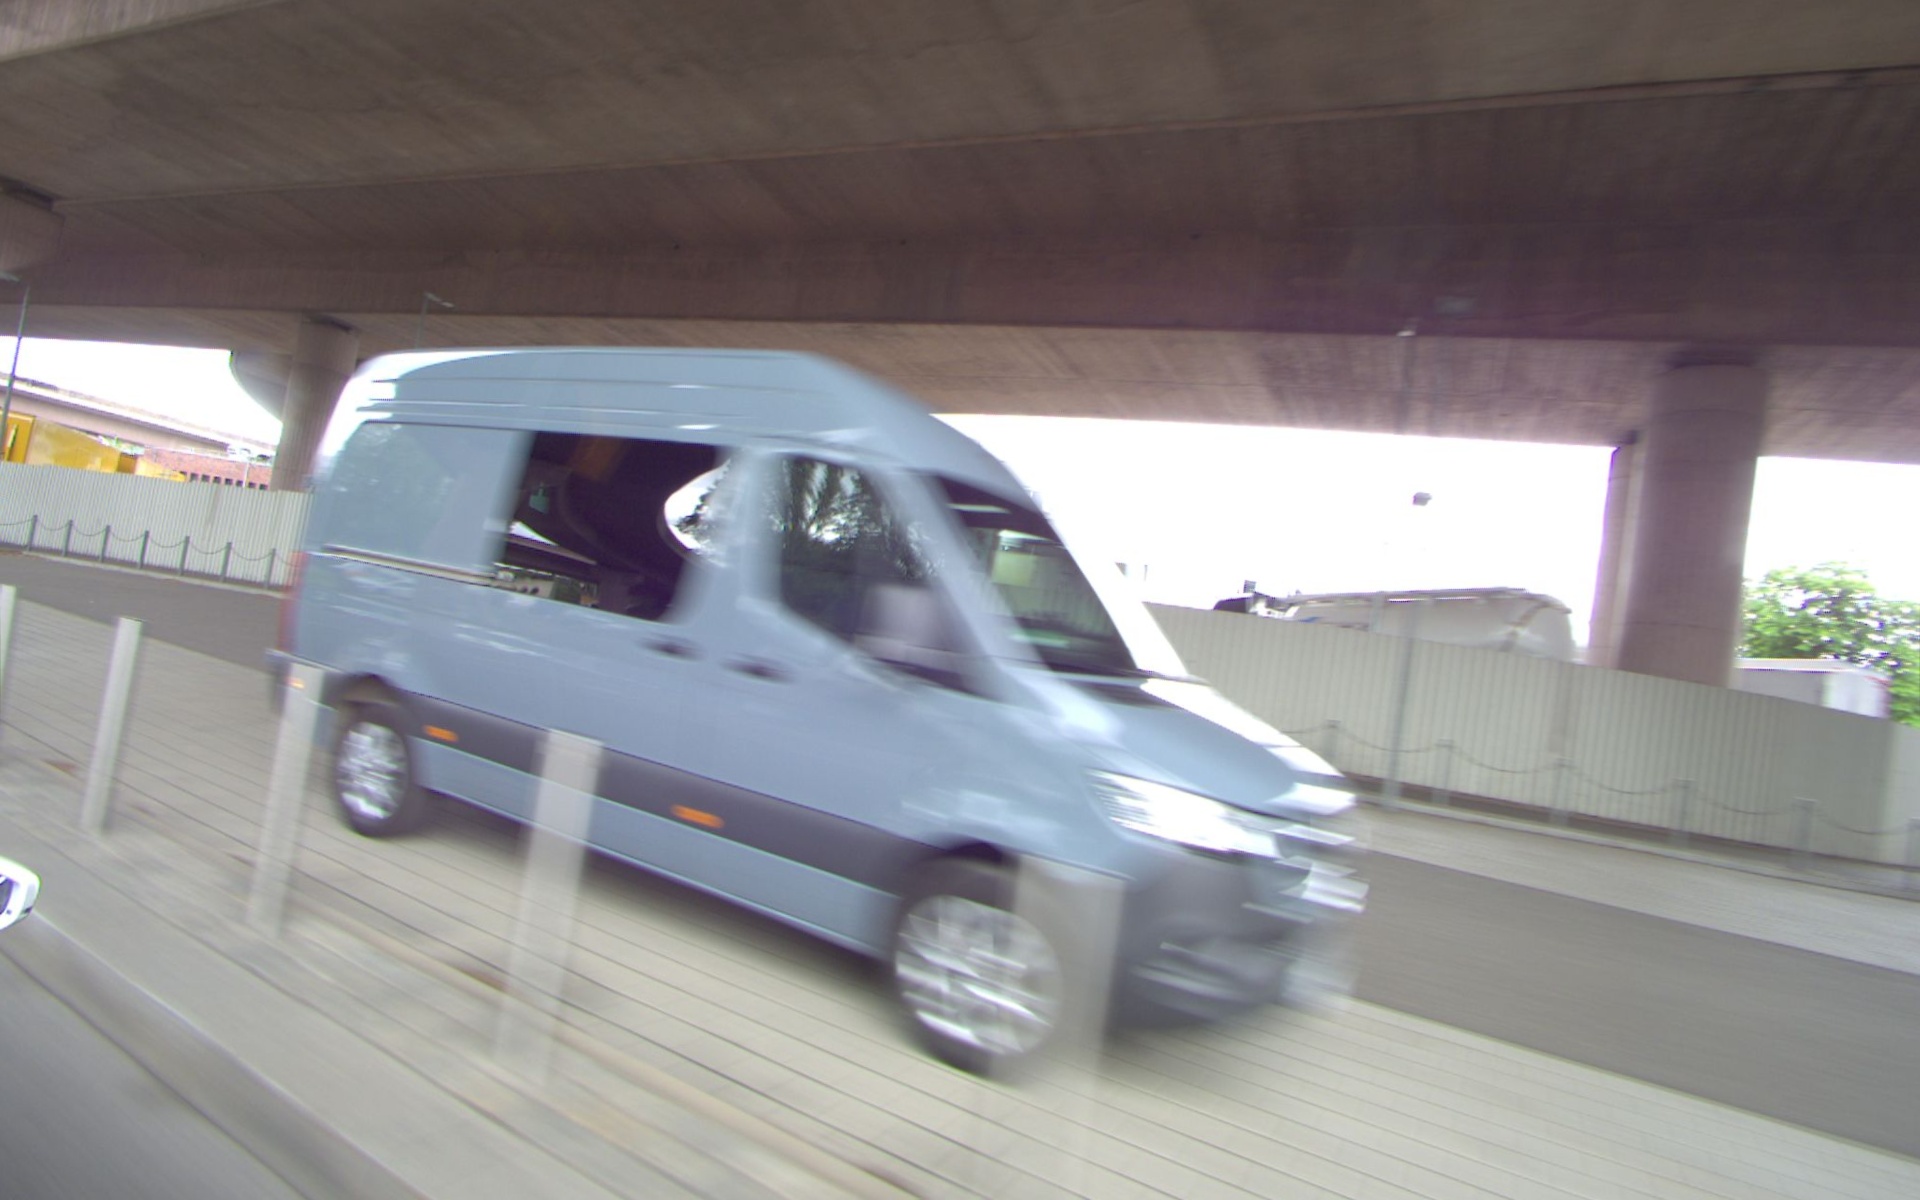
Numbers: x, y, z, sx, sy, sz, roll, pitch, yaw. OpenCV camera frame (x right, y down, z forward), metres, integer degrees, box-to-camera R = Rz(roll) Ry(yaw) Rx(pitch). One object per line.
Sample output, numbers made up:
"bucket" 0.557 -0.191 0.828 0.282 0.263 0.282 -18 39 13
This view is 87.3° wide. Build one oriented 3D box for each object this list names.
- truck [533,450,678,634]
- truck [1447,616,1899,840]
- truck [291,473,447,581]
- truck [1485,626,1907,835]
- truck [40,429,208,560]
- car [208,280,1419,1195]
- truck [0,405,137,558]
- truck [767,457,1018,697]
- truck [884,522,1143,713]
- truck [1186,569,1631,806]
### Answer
"truck" -11.426 -1.623 31.640 3.108 4.494 9.674 8 -2 -23
"truck" 17.306 2.866 25.466 2.876 4.206 8.719 8 -2 -25
"truck" -20.702 -2.422 35.844 3.104 2.980 8.675 7 0 -21
"truck" 19.561 3.243 27.693 2.876 4.286 8.719 8 -2 -25
"truck" -40.141 -4.799 48.778 3.108 4.956 8.679 9 -3 -22
"car" -1.109 0.163 5.231 5.970 2.643 1.999 7 -2 30
"truck" -36.568 -4.565 39.776 3.108 4.970 8.679 9 -3 -22
"truck" -2.297 -0.543 27.219 3.109 4.979 9.675 9 -2 -23
"truck" 1.008 0.372 28.513 2.779 4.206 9.879 9 -2 -23
"truck" 9.995 1.684 24.461 2.974 4.352 10.248 8 -2 -22
